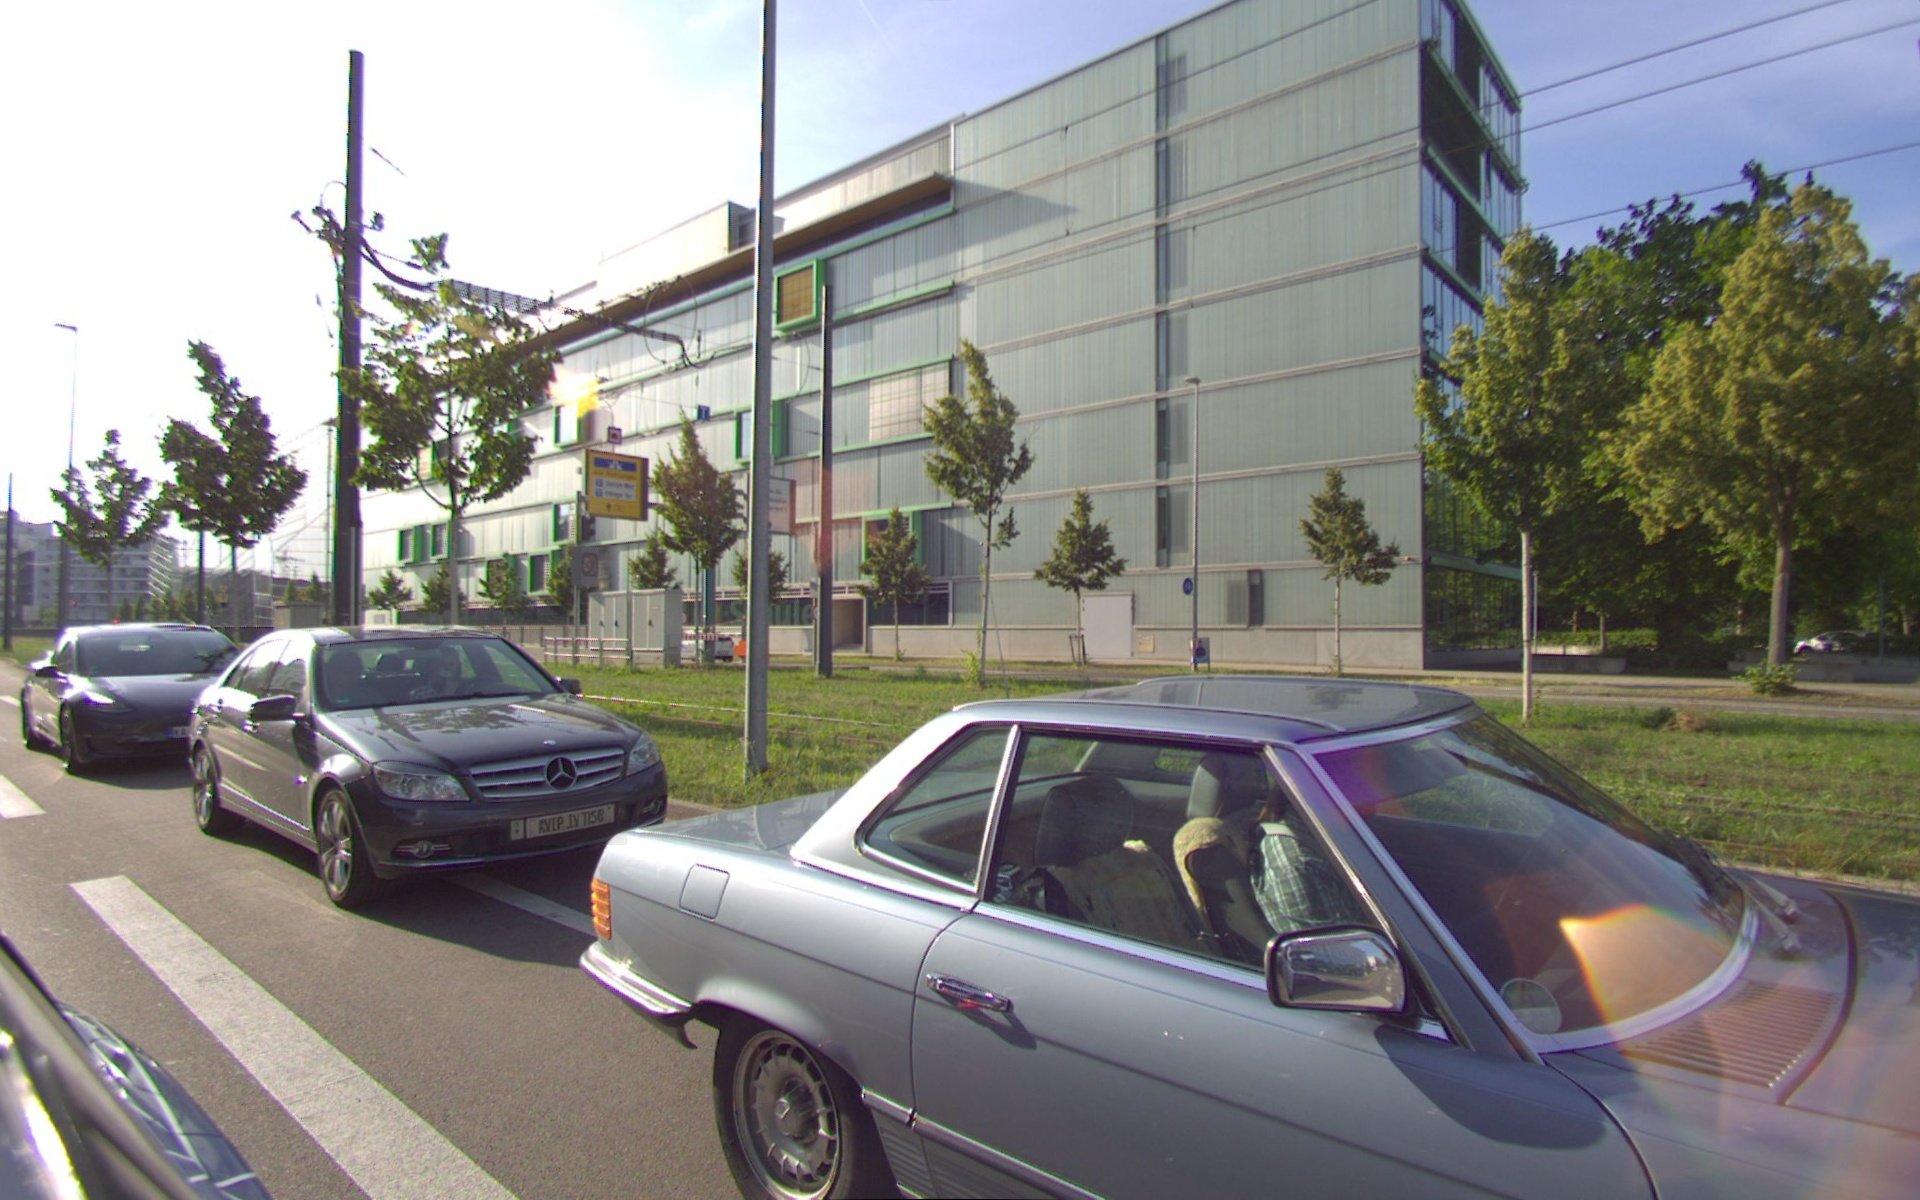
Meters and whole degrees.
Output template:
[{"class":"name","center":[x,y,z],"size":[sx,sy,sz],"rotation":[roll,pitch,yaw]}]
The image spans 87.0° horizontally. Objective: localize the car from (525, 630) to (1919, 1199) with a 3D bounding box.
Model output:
[{"class":"car","center":[0.993,0.767,2.138],"size":[4.397,1.340,1.746],"rotation":[-2,-1,40]}]

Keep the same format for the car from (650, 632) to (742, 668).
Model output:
[{"class":"car","center":[-11.809,2.199,45.096],"size":[4.219,1.539,1.858],"rotation":[-2,-3,39]}]

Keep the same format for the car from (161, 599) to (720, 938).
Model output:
[{"class":"car","center":[-3.608,0.808,6.612],"size":[4.351,1.490,1.768],"rotation":[-2,-1,41]}]

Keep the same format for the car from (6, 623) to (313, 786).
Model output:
[{"class":"car","center":[-8.899,1.001,11.116],"size":[4.332,1.396,1.870],"rotation":[-2,-1,41]}]
